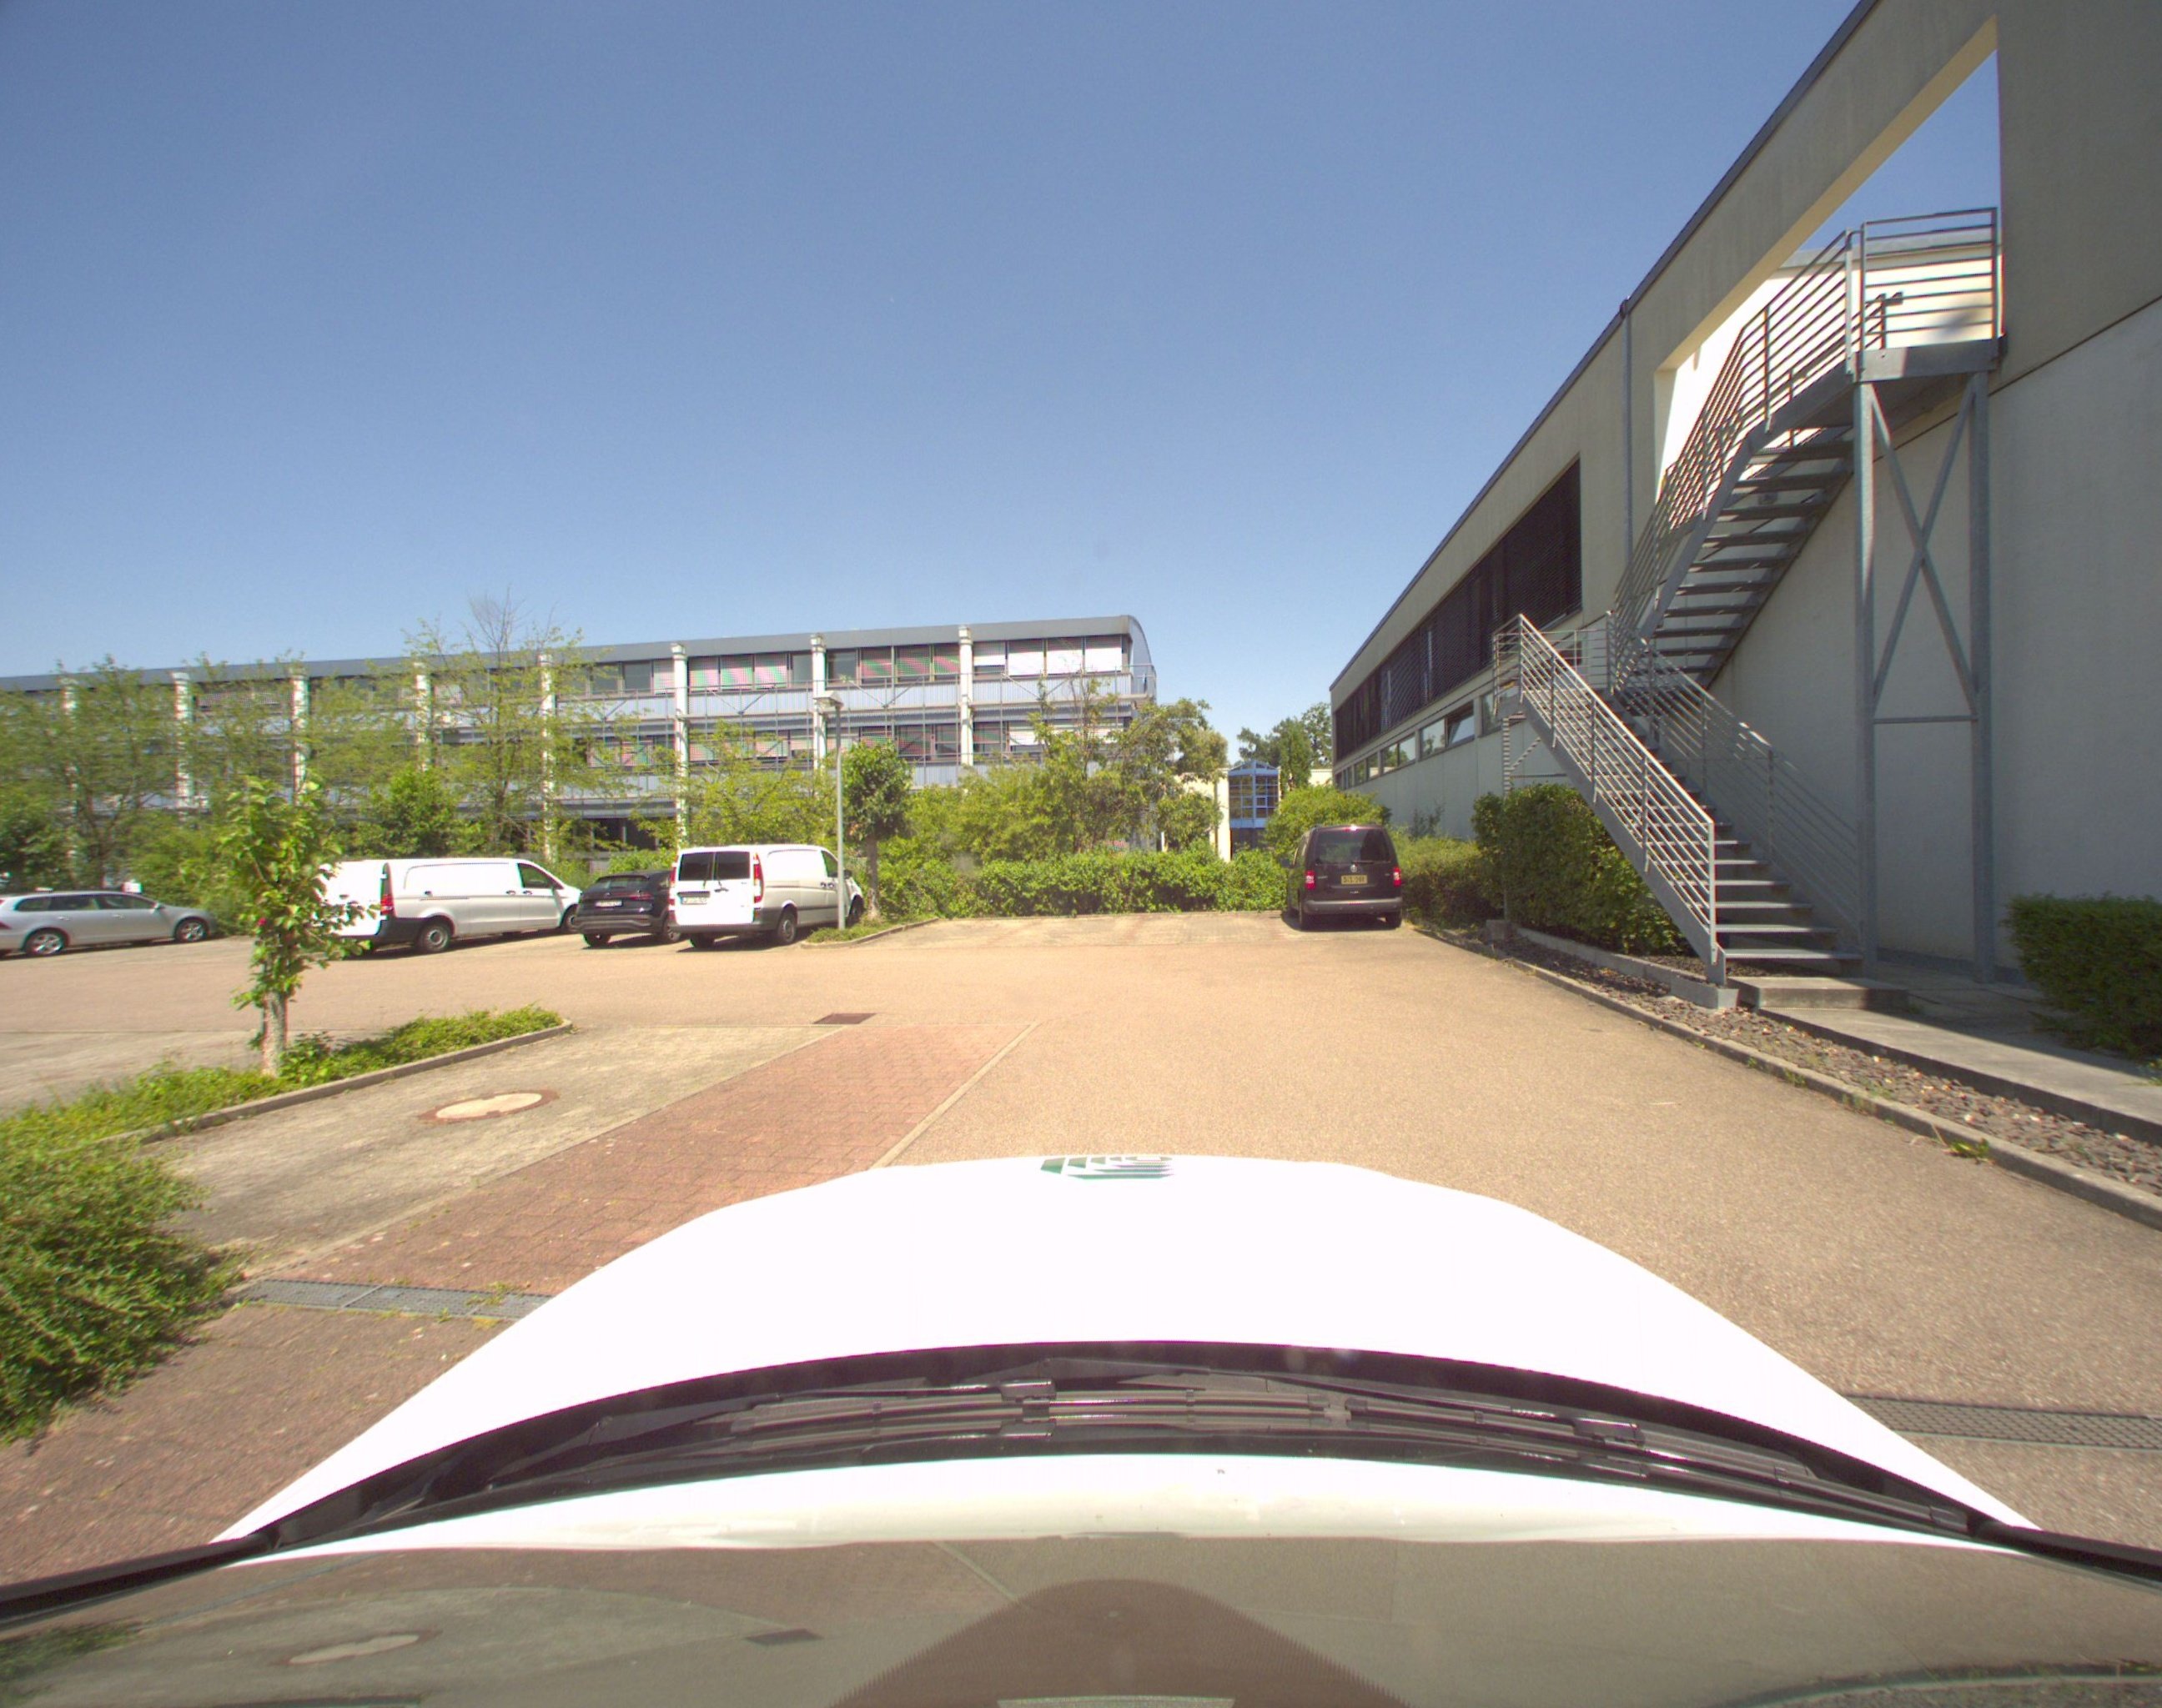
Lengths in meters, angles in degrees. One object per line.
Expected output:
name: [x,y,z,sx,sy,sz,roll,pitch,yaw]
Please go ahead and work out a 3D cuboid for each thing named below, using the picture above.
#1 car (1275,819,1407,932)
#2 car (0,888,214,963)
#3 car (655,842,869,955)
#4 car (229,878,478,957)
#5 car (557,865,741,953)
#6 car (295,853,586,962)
car: [4.827,0.352,15.664,1.733,1.837,4.009,-2,0,8]
car: [-24.128,1.665,19.513,1.855,1.406,4.183,-2,0,11]
car: [-6.203,0.747,16.606,1.902,1.905,4.818,-2,1,7]
car: [-16.622,1.384,18.921,1.771,1.441,4.012,-2,0,11]
car: [-8.965,1.061,17.346,1.749,1.476,3.999,-2,1,-1]
car: [-13.363,1.003,17.486,1.870,1.891,4.817,-2,1,10]
